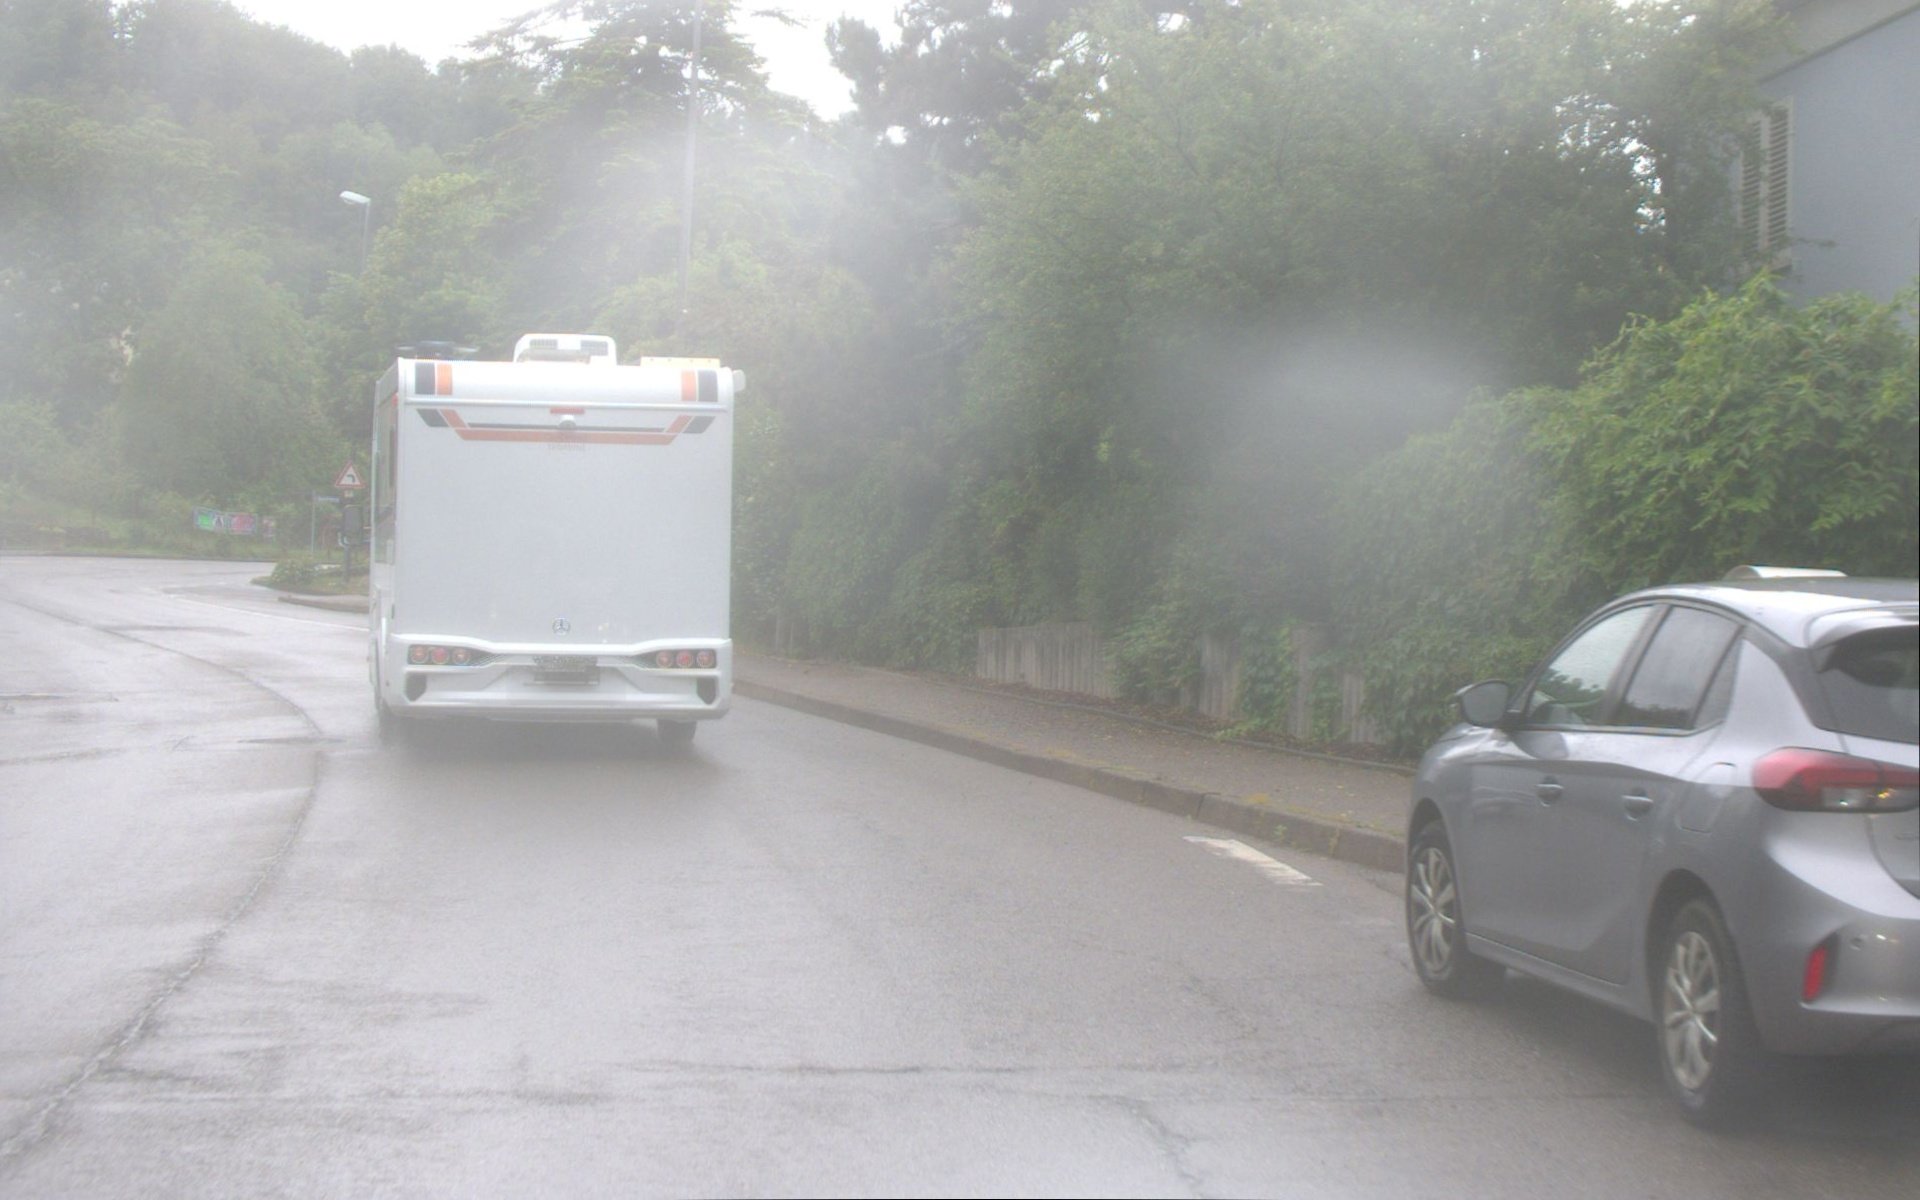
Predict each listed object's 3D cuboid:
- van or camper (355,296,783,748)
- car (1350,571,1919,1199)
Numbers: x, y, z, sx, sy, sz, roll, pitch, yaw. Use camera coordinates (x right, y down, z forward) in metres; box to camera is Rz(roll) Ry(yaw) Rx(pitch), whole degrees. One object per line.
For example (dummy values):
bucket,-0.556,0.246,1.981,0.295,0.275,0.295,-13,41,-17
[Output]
van or camper,-3.056,-0.492,25.384,2.615,2.843,6.032,2,0,-11
car,2.502,0.696,10.378,1.685,1.452,4.058,2,1,-7
